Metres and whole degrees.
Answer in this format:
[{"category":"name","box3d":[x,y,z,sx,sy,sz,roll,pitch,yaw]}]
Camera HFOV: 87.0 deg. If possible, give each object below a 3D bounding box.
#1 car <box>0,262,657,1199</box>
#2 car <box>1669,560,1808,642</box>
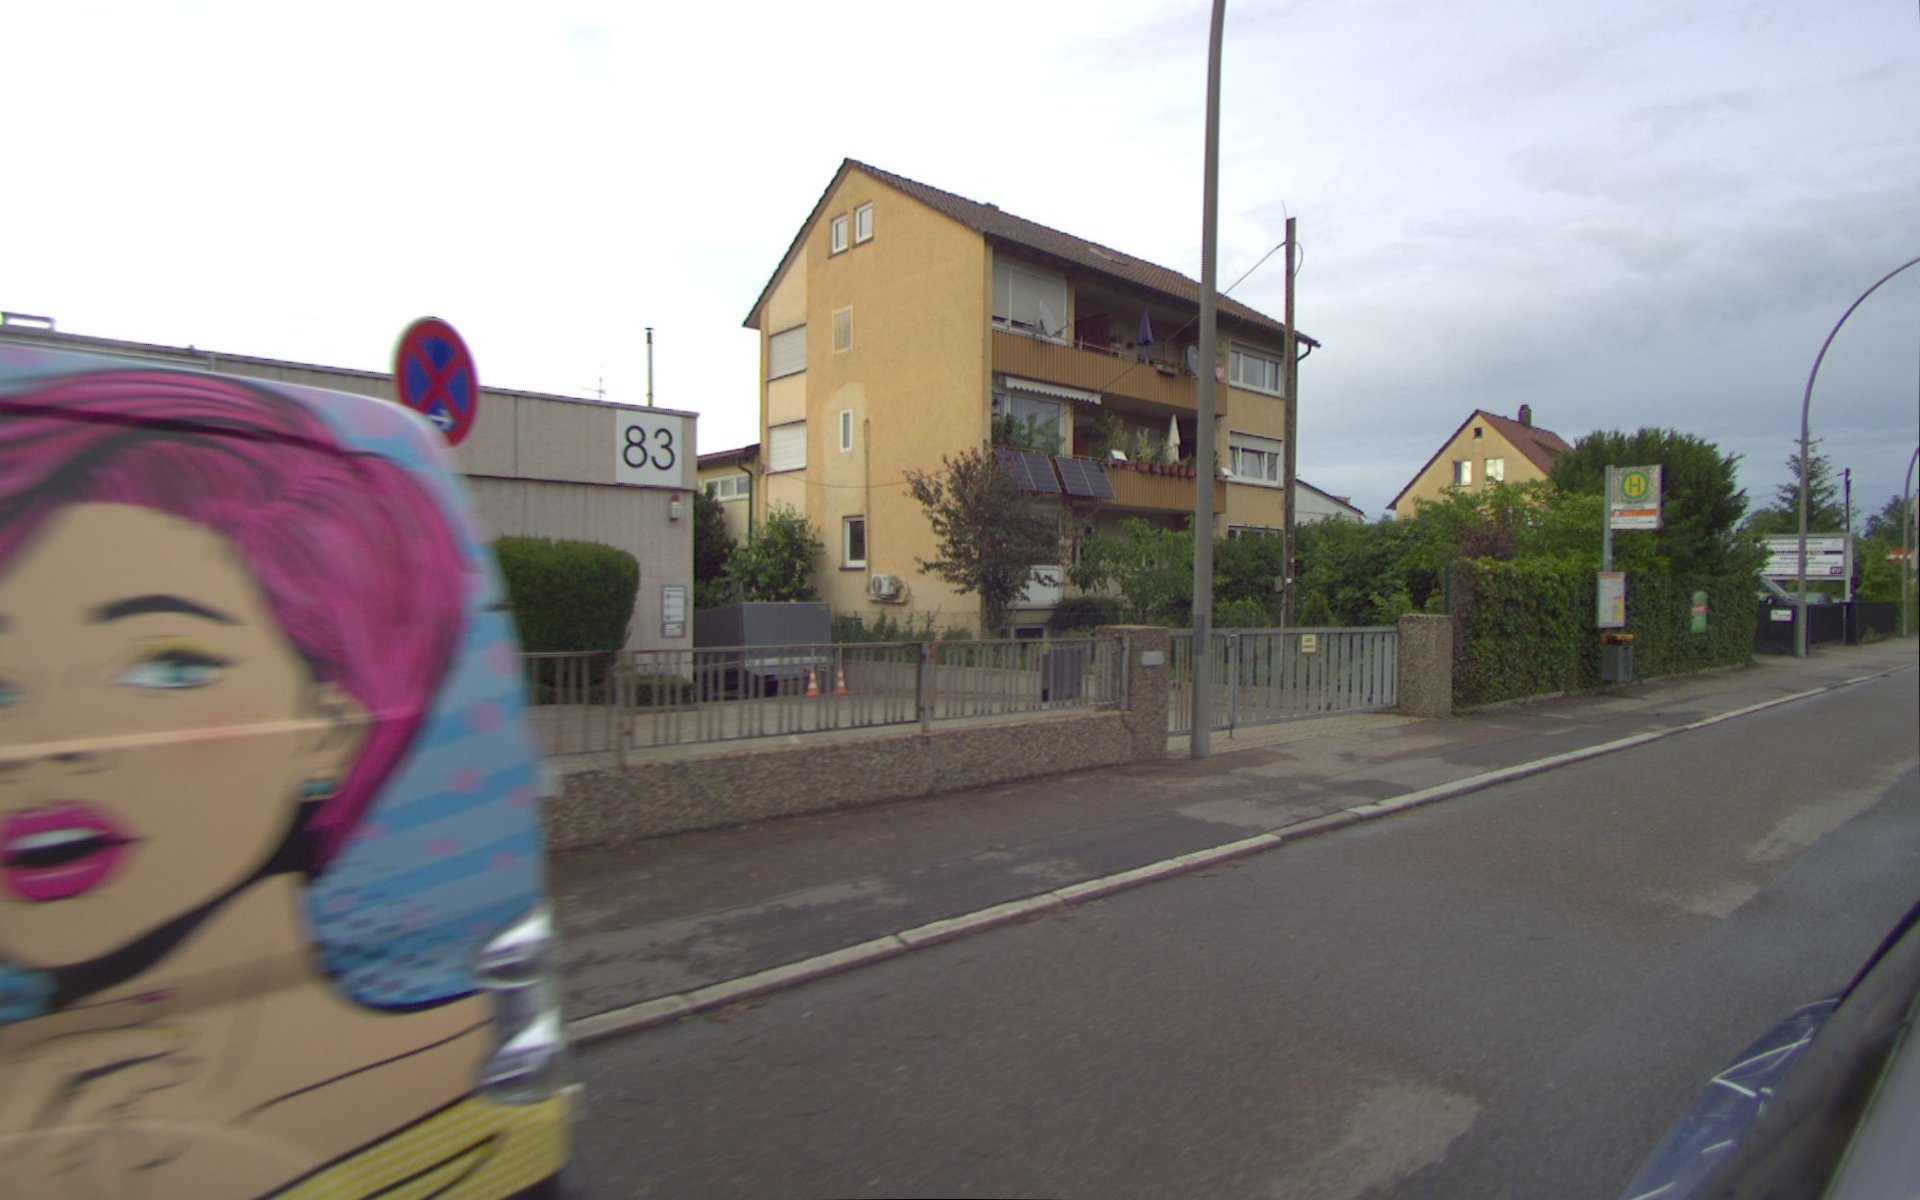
[{"category":"car","box3d":[-3.144,0.557,0.600,5.453,1.851,1.735,0,-1,-39]},{"category":"car","box3d":[26.503,0.028,34.509,1.916,2.645,3.453,0,0,-41]}]
